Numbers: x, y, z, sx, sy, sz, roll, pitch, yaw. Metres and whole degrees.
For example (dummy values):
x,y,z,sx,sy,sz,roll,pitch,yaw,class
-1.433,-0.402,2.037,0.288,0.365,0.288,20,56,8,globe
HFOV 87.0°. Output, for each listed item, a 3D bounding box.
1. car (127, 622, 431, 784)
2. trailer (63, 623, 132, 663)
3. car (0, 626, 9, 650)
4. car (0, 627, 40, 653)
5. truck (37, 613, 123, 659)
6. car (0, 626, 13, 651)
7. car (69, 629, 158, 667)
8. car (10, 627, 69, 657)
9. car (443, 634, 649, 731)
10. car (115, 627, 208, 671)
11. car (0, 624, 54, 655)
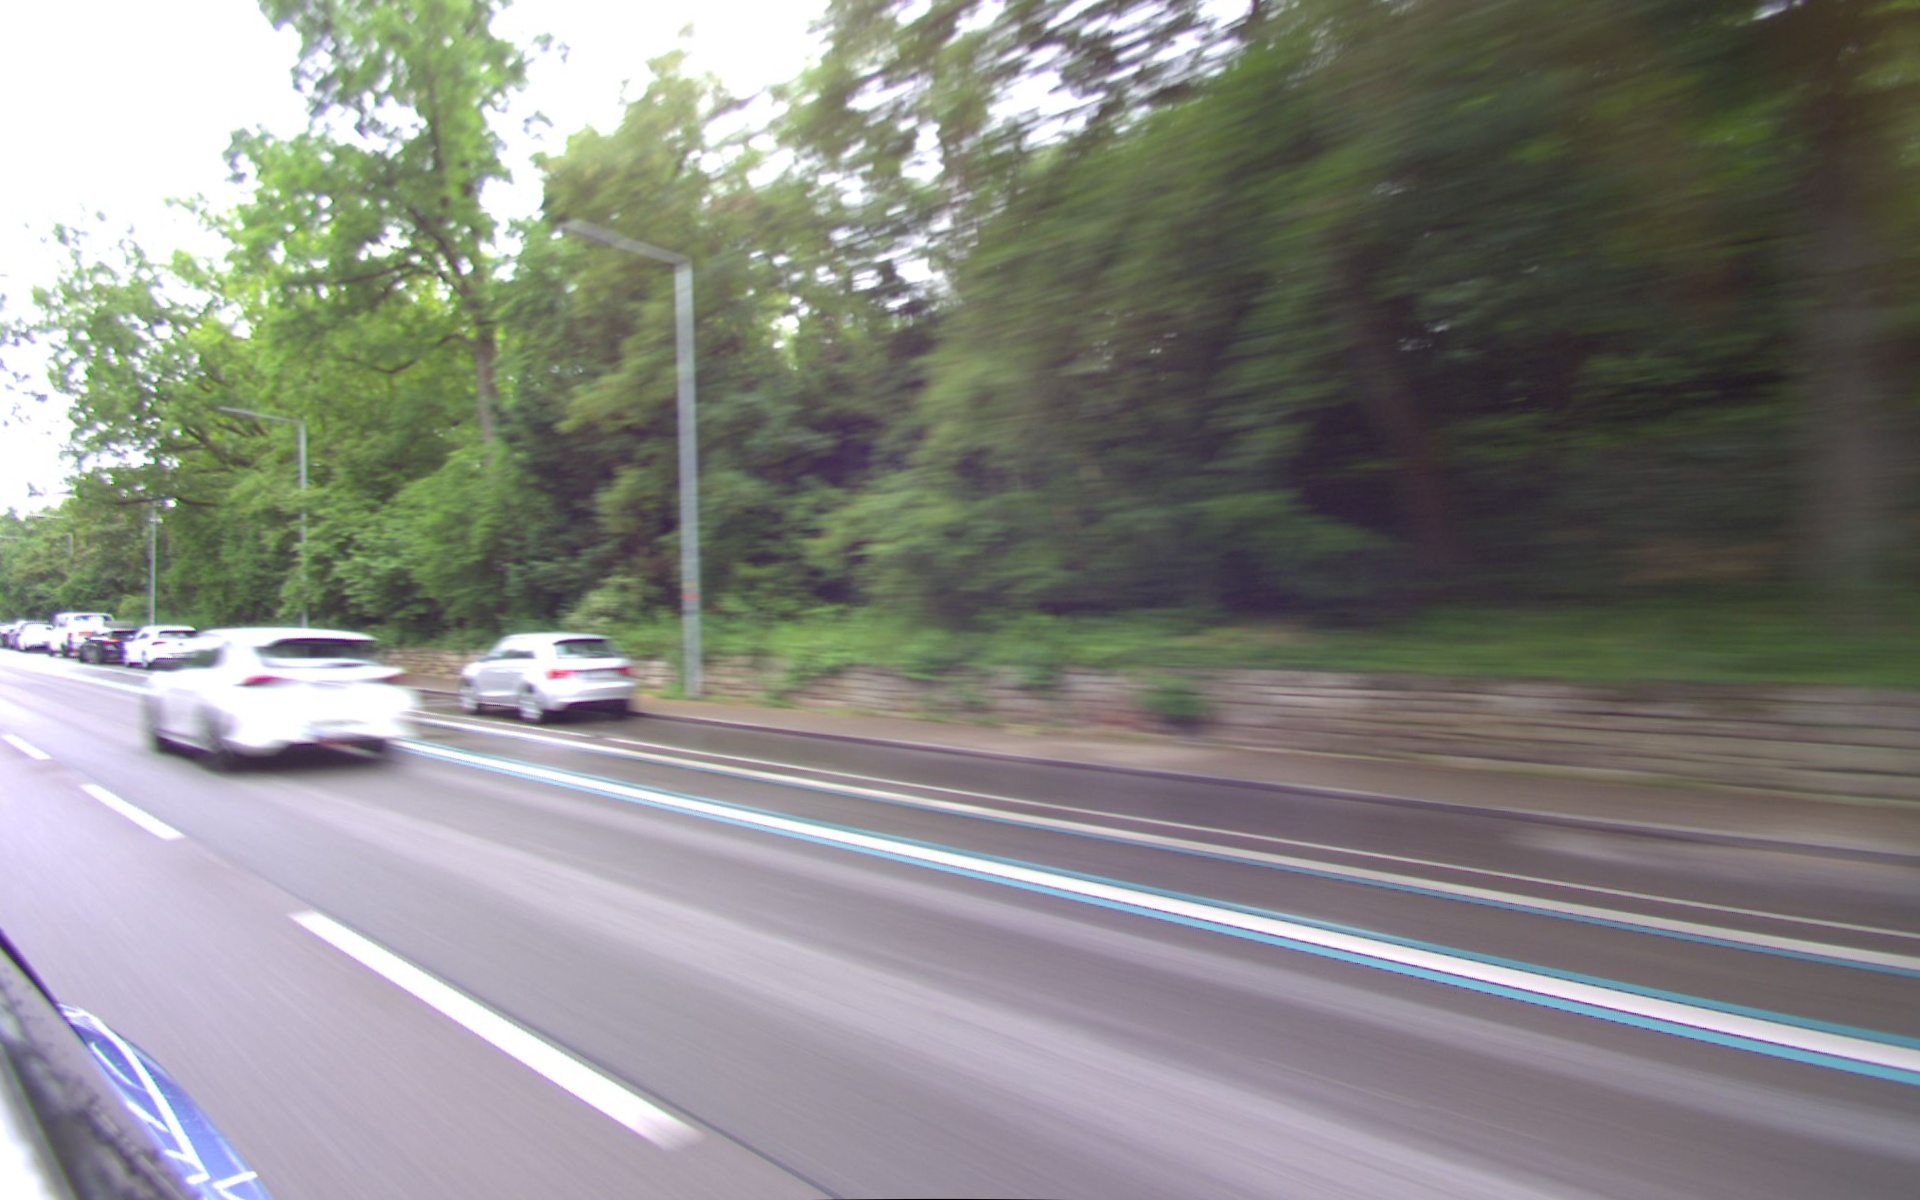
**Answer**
x,y,z,sx,sy,sz,roll,pitch,yaw,class
-7.691,1.016,11.292,4.060,1.477,1.757,-1,-4,41,car
-37.071,1.809,43.546,1.329,1.670,2.271,0,-1,-11,trailer
-65.814,2.575,68.490,3.991,1.600,1.795,-2,-2,42,car
-58.261,2.461,62.246,4.550,1.486,1.877,-2,-2,40,car
-40.981,1.654,47.104,5.152,2.029,2.073,-1,-2,38,truck
-62.645,2.516,65.618,2.858,1.606,1.507,-2,-3,40,car
-33.391,1.865,39.888,4.439,1.409,1.803,-1,-2,38,car
-48.861,2.191,53.714,4.751,1.509,1.787,-1,-2,41,car
-7.114,1.311,17.200,4.026,1.416,1.672,-2,-1,42,car
-28.355,1.704,35.906,4.353,1.446,1.737,-2,-2,40,car
-53.651,2.254,58.155,4.670,1.673,1.718,-2,-2,40,car
